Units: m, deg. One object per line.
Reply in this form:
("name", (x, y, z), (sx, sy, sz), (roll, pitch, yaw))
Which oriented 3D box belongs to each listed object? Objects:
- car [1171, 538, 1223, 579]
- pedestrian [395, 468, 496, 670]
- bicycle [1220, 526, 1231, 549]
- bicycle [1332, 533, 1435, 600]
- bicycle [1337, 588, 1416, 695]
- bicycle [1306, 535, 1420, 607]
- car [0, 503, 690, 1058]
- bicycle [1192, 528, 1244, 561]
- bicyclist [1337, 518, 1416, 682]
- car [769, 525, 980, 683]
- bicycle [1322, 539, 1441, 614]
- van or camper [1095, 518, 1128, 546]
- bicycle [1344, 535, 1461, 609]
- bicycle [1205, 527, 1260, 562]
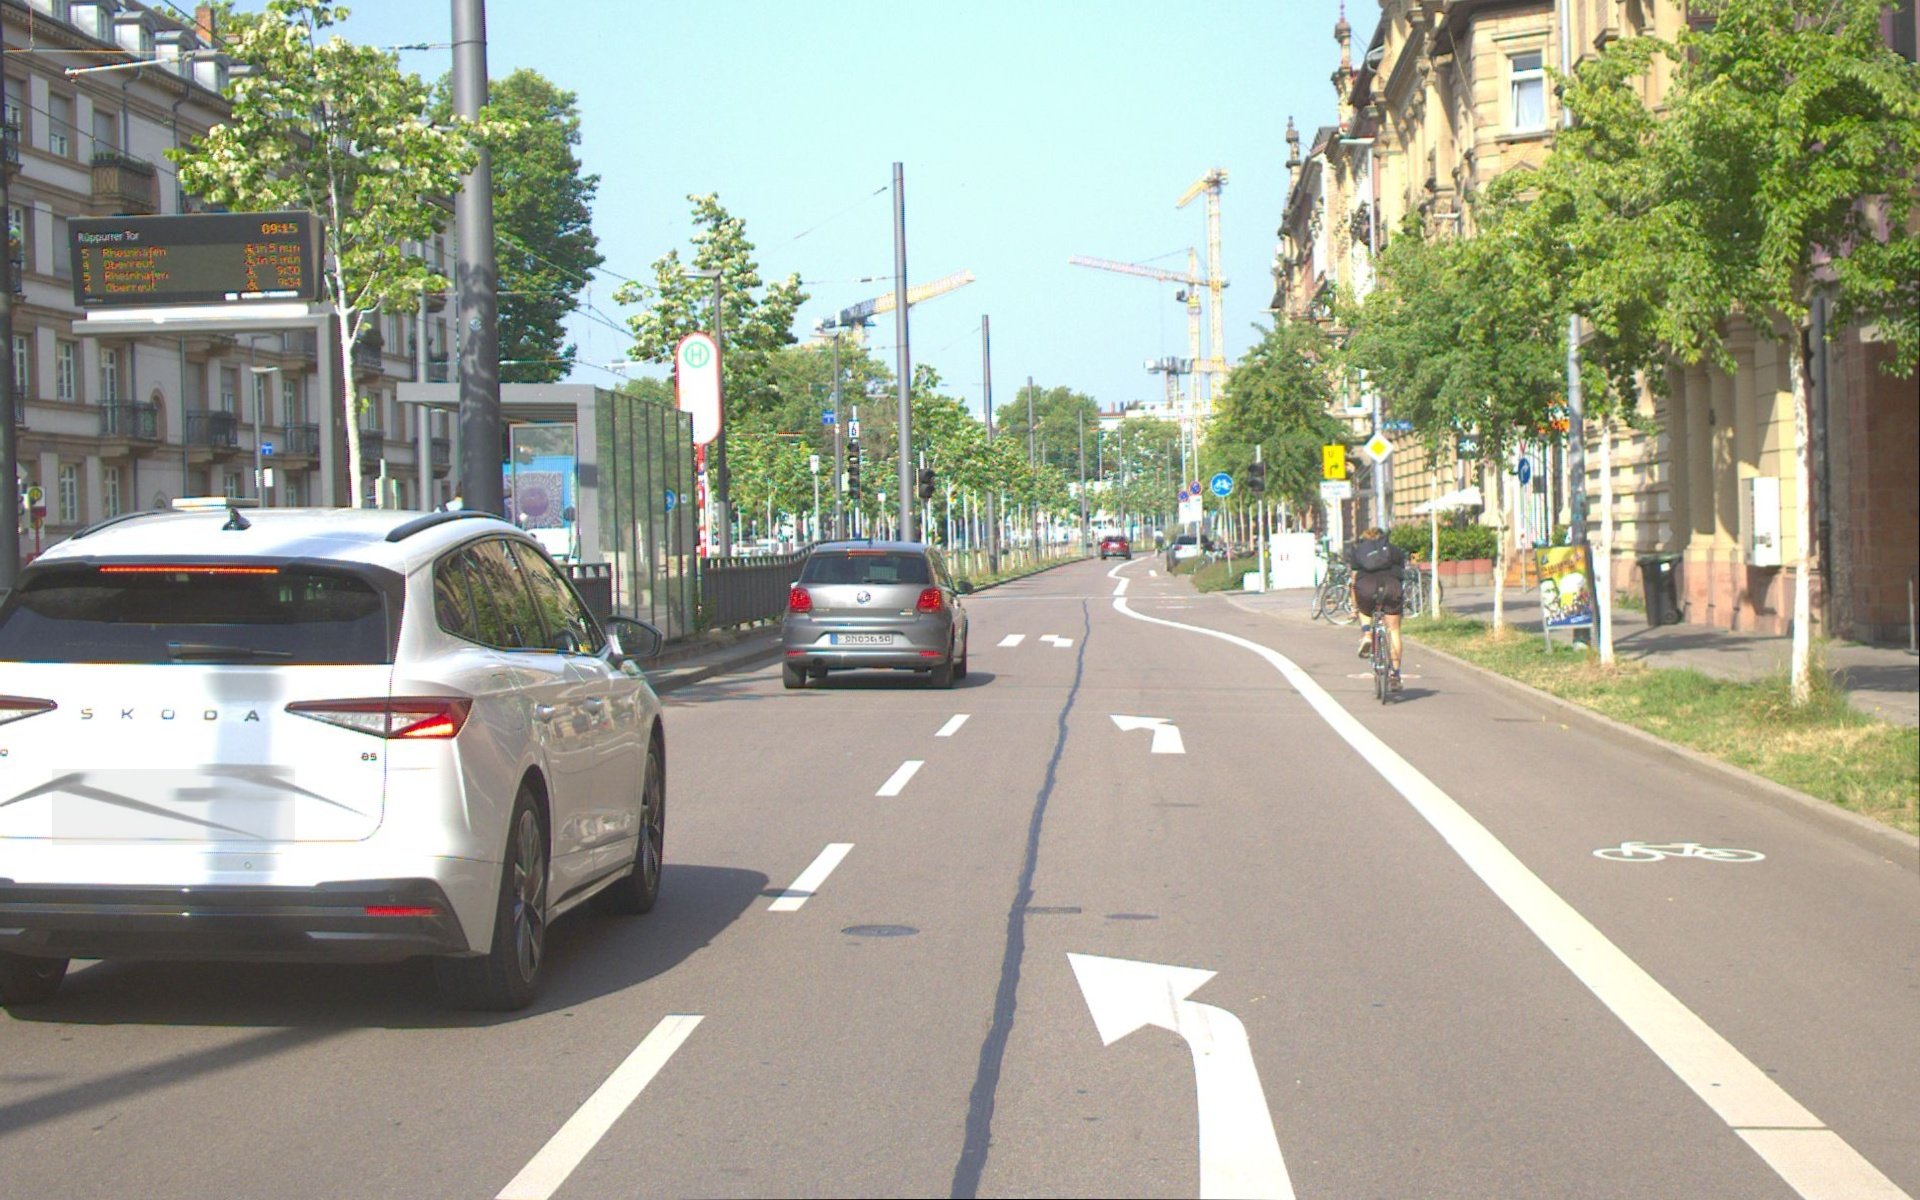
("car", (9.822, -1.750, 142.691), (1.769, 1.583, 4.248), (-3, 1, 0))
("pedestrian", (-5.197, -0.318, 34.772), (0.833, 2.007, 1.028), (1, 1, 0))
("bicycle", (12.647, -2.990, 163.724), (0.492, 1.090, 1.826), (-1, 1, 4))
("bicycle", (7.613, -0.603, 61.835), (1.753, 1.084, 0.582), (-4, 1, 7))
("bicycle", (3.825, 0.368, 31.673), (0.505, 0.950, 1.785), (1, 0, 0))
("bicycle", (6.936, -0.500, 59.148), (1.755, 1.084, 0.673), (-5, 1, -19))
("car", (-2.165, 0.479, 12.085), (1.817, 1.584, 4.406), (-1, 1, 3))
("bicycle", (9.079, -1.965, 121.057), (1.785, 1.050, 0.373), (-3, 1, 2))
("bicyclist", (3.822, -0.003, 31.613), (0.583, 1.477, 0.931), (1, 0, 0))
("car", (-0.798, -0.010, 34.810), (1.754, 1.479, 4.406), (-1, 1, 3))
("bicycle", (6.900, -0.384, 56.305), (1.755, 1.084, 0.611), (-5, 1, -6))
("van or camper", (9.554, -4.282, 217.052), (1.994, 1.649, 4.000), (-2, 1, 3))
("bicycle", (7.441, -0.474, 57.840), (1.755, 1.084, 0.658), (-5, 1, -6))
("bicycle", (9.484, -1.940, 119.779), (1.806, 1.092, 0.672), (-3, 1, -2))
